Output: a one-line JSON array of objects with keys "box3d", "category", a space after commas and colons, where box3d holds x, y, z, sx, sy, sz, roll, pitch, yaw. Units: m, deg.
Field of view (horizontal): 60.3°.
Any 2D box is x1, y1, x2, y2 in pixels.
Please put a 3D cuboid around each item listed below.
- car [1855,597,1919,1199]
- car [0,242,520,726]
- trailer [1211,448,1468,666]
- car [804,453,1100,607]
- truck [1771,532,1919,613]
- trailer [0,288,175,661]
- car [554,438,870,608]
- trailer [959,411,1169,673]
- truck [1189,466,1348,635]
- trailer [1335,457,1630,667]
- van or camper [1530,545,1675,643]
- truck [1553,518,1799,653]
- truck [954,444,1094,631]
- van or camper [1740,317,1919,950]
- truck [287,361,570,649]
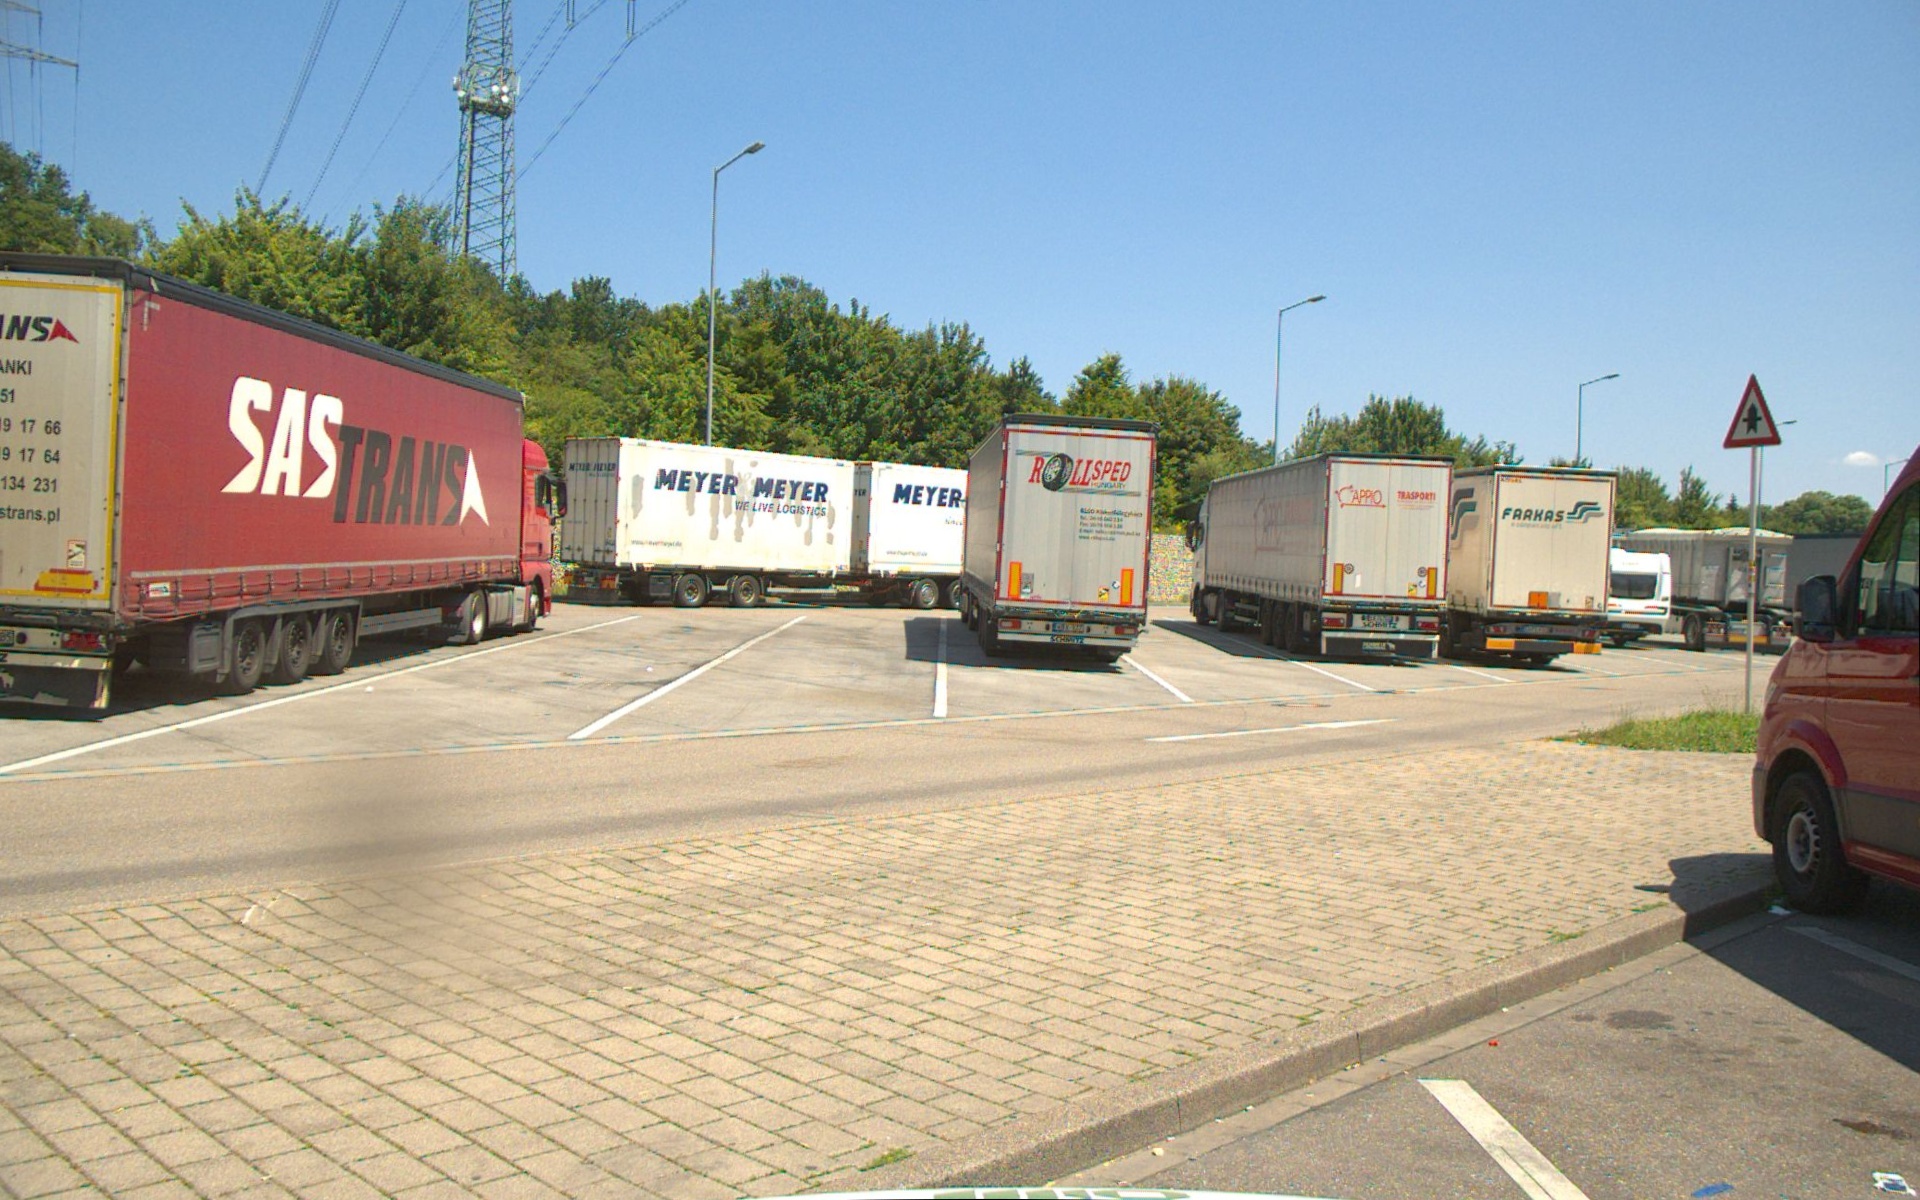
[{"box3d": [2.543, 0.798, 1.099, 1.584, 1.509, 3.762, 1, 1, -6], "category": "car"}, {"box3d": [-8.672, -1.280, 20.947, 2.641, 4.184, 12.935, 2, 2, 0], "category": "car"}, {"box3d": [8.250, -1.082, 38.091, 2.808, 4.107, 12.438, 2, 2, -1], "category": "trailer"}, {"box3d": [-0.015, -2.016, 50.830, 2.644, 4.261, 10.146, 5, 3, 44], "category": "car"}, {"box3d": [34.707, -1.050, 63.622, 2.082, 2.869, 9.777, 1, 1, -1], "category": "truck"}, {"box3d": [-12.543, -1.406, 17.149, 2.756, 4.341, 12.940, 2, 2, -1], "category": "trailer"}, {"box3d": [-6.400, -1.933, 44.091, 2.643, 4.114, 8.413, 5, 3, 43], "category": "car"}, {"box3d": [1.658, -1.235, 33.656, 2.809, 4.107, 14.238, 2, 2, -2], "category": "trailer"}, {"box3d": [8.171, -1.377, 44.722, 2.808, 4.107, 6.956, 2, 2, -1], "category": "truck"}, {"box3d": [11.827, -1.015, 39.209, 2.808, 4.107, 12.438, 2, 2, -1], "category": "trailer"}, {"box3d": [18.272, -0.211, 47.334, 2.061, 2.606, 5.372, 1, 1, 0], "category": "van or camper"}, {"box3d": [21.752, -0.636, 51.230, 2.437, 3.630, 11.423, 2, 2, -1], "category": "truck"}, {"box3d": [1.428, -1.561, 40.737, 2.809, 4.107, 7.026, 2, 2, -2], "category": "truck"}, {"box3d": [4.993, 0.178, 5.546, 1.954, 2.700, 6.482, 1, 1, 3], "category": "van or camper"}, {"box3d": [-8.693, -1.528, 27.865, 2.641, 4.184, 6.239, 2, 2, 0], "category": "truck"}]
